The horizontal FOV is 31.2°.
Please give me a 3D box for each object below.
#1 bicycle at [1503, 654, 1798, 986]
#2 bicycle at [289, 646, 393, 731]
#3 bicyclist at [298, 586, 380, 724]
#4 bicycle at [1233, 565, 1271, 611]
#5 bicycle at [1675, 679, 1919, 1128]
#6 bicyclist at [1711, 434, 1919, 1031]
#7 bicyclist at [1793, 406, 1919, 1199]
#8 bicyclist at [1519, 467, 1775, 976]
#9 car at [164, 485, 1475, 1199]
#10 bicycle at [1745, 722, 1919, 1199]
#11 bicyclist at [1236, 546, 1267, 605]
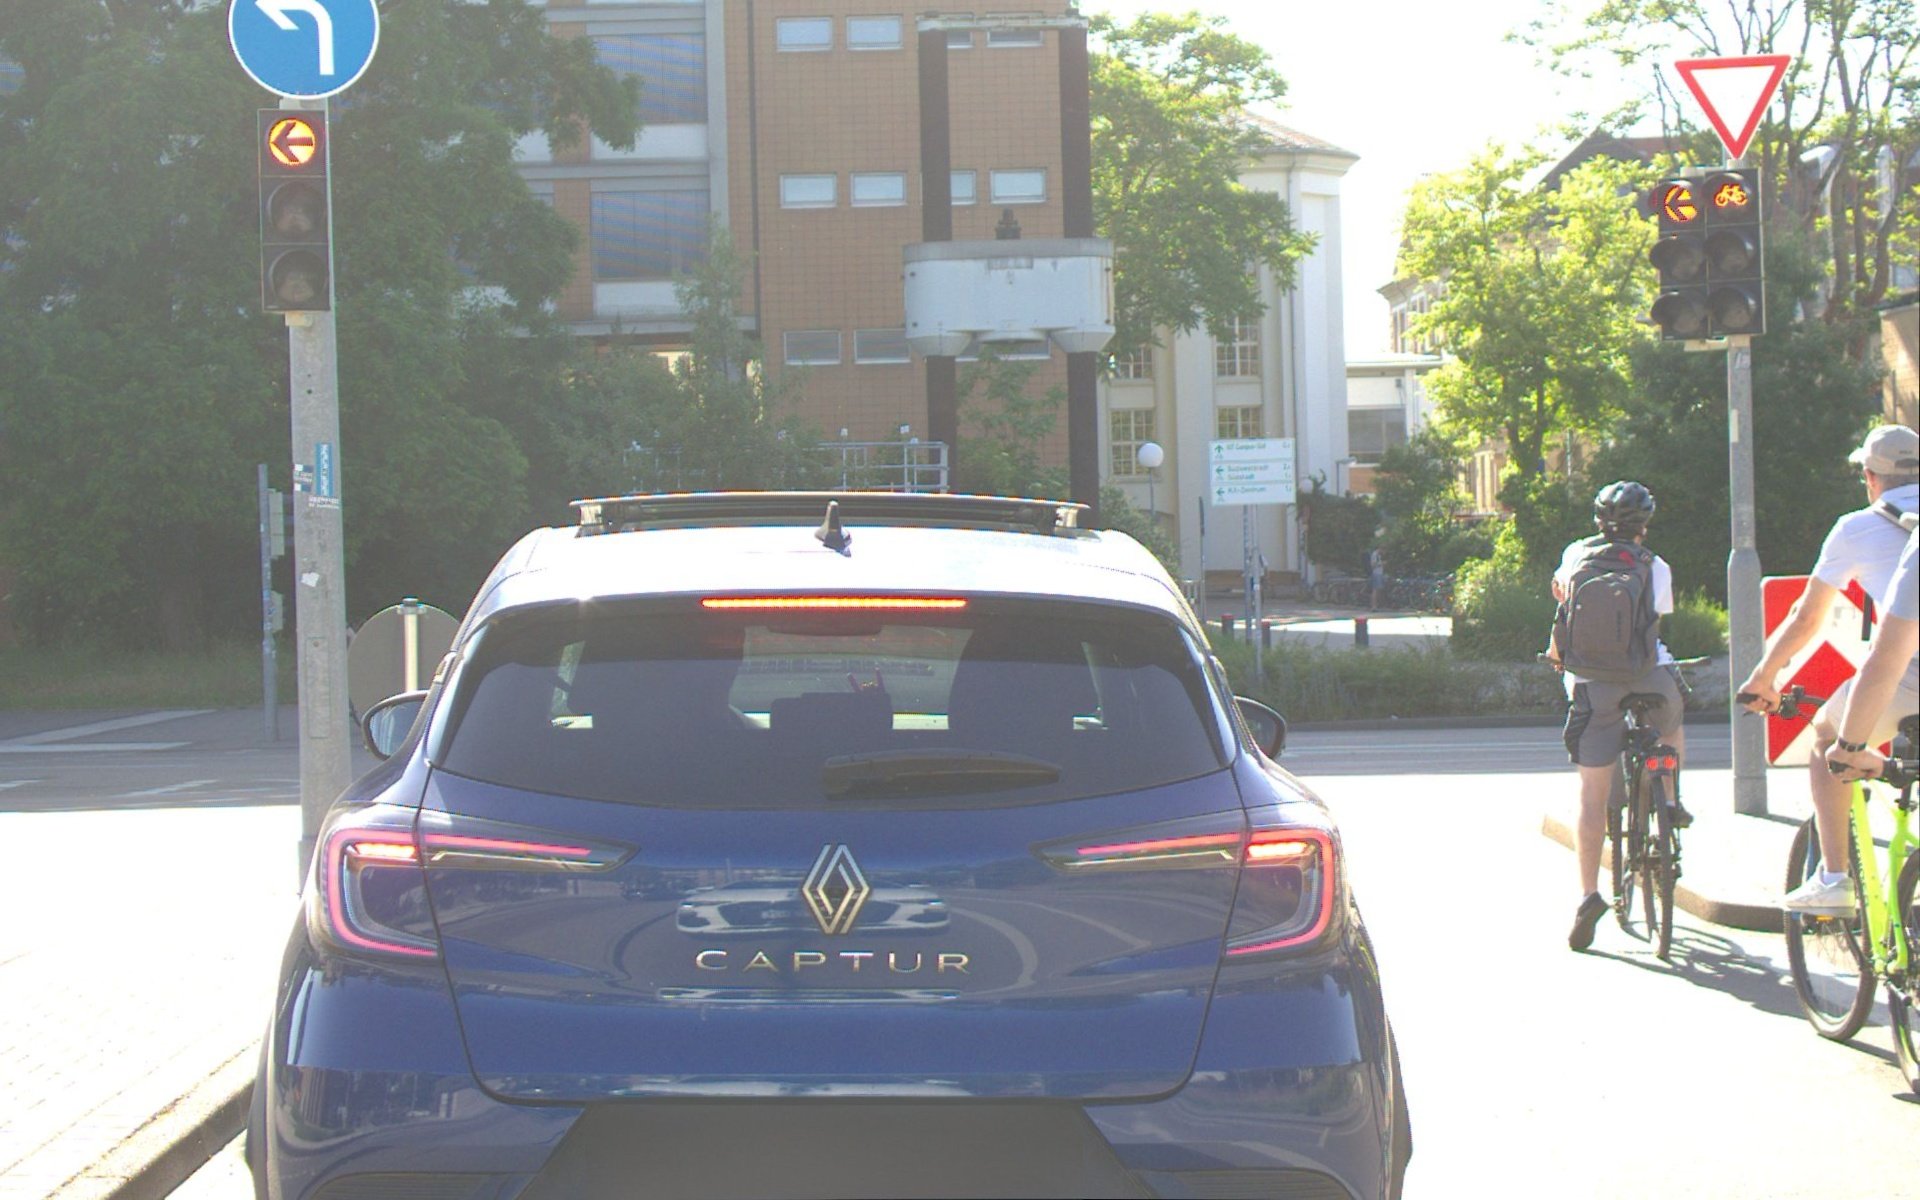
[{"bbox_3d":[2.528,0.771,12.783,0.689,1.085,1.922,0,1,-1],"label":"bicycle"},{"bbox_3d":[-7.886,1.120,43.912,0.755,0.981,2.093,-1,1,5],"label":"bicycle"},{"bbox_3d":[-7.906,0.689,43.802,0.755,1.710,0.998,-1,1,5],"label":"bicyclist"},{"bbox_3d":[7.415,-0.302,87.421,0.694,1.136,2.441,-1,1,-1],"label":"bicycle"},{"bbox_3d":[2.591,0.801,9.781,0.689,1.085,1.922,0,1,-1],"label":"bicycle"},{"bbox_3d":[2.592,0.345,9.721,0.678,1.589,1.142,0,1,-1],"label":"bicyclist"},{"bbox_3d":[2.237,0.503,7.227,0.683,1.785,1.142,0,1,-1],"label":"bicyclist"},{"bbox_3d":[2.502,0.418,12.631,0.699,1.785,1.142,0,1,-1],"label":"bicyclist"},{"bbox_3d":[-0.269,0.610,6.655,1.788,1.580,3.915,0,1,-2],"label":"car"},{"bbox_3d":[2.227,0.847,7.238,0.689,1.085,1.922,0,1,-1],"label":"bicycle"},{"bbox_3d":[7.408,-0.624,87.390,0.694,1.476,0.717,-1,1,0],"label":"bicyclist"}]
